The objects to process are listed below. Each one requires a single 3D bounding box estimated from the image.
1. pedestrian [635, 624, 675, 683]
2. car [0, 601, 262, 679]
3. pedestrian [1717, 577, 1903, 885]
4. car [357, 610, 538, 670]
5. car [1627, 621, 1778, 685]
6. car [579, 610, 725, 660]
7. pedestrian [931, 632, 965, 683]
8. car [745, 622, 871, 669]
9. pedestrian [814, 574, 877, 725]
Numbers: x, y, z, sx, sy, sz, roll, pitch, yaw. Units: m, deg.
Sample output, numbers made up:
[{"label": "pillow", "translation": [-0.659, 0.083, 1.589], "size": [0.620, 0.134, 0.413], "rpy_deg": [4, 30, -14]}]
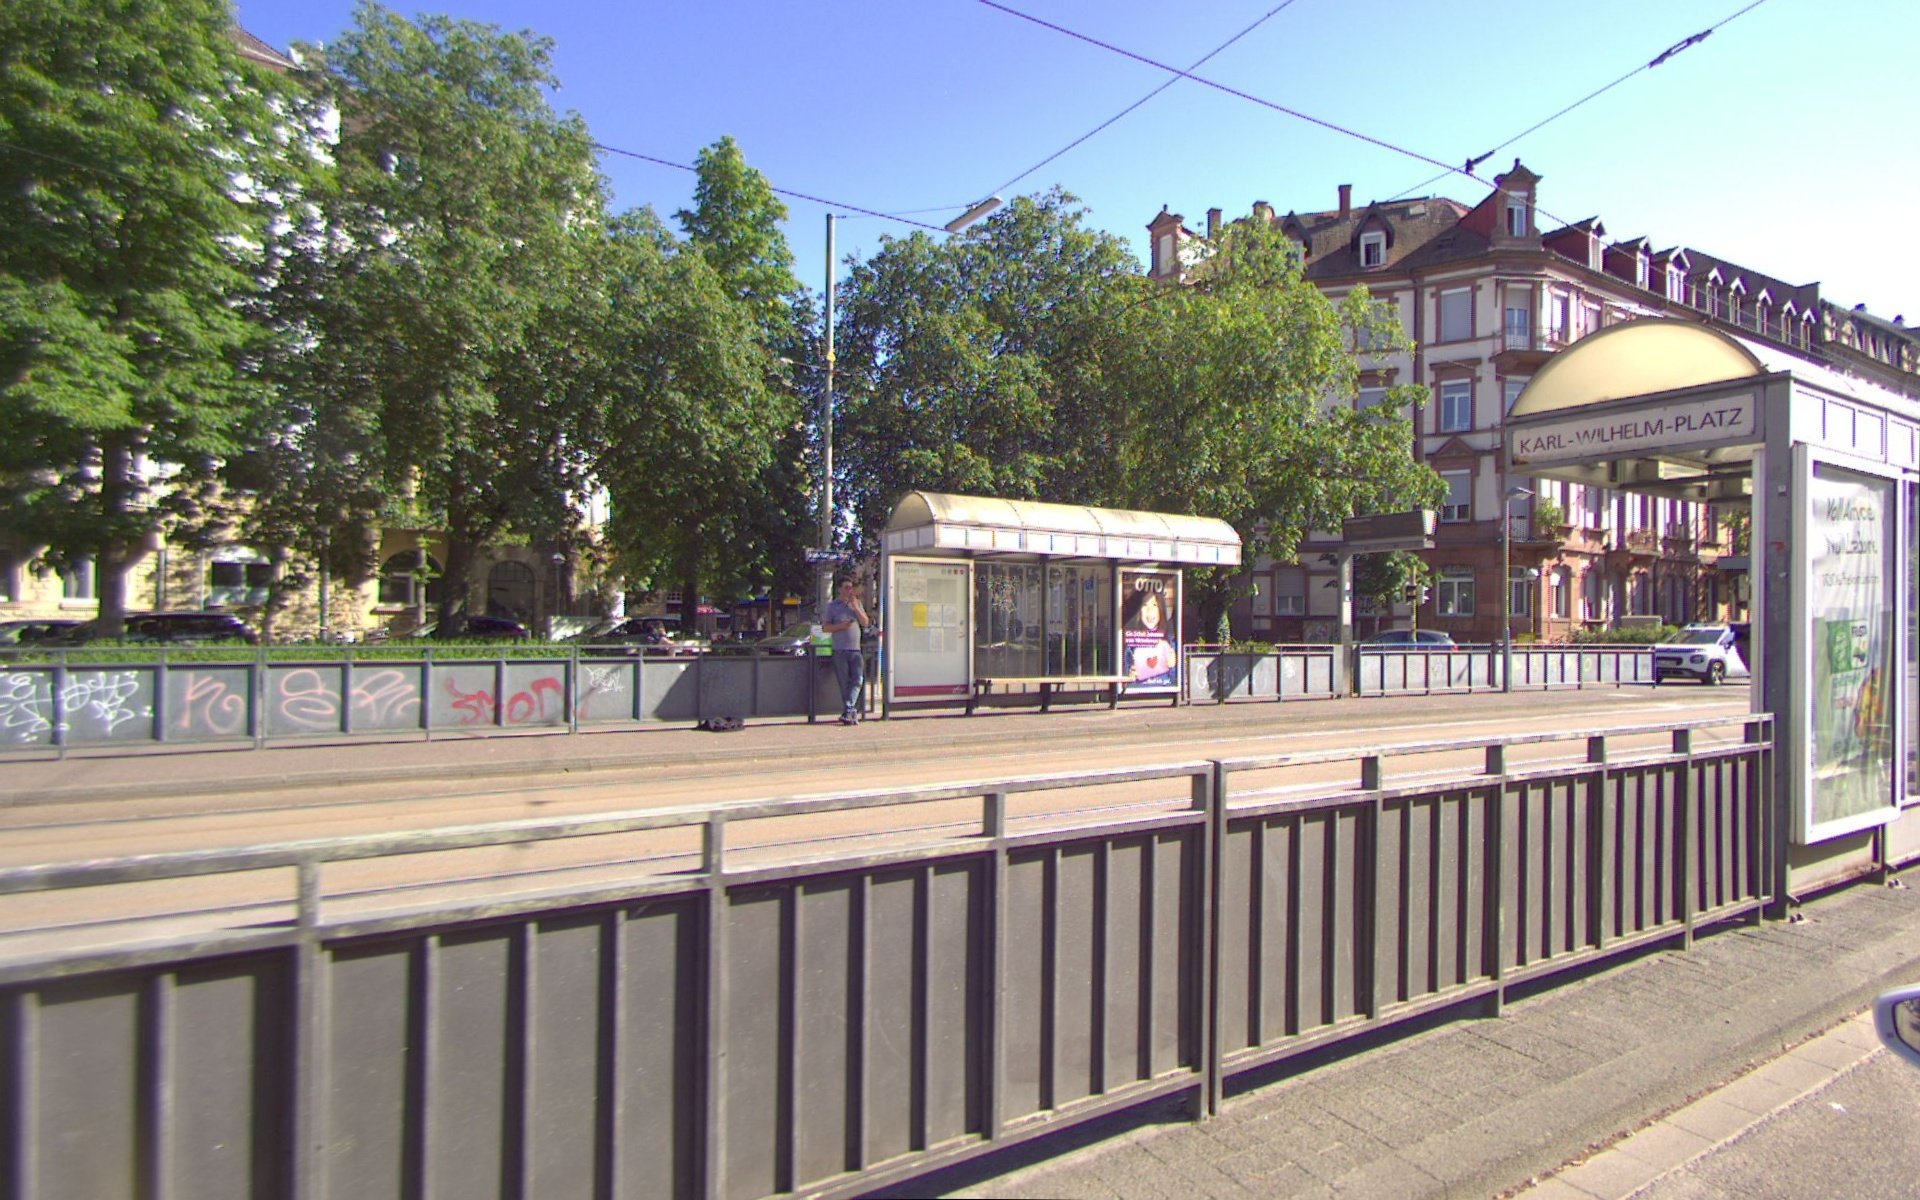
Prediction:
[{"label": "pedestrian", "translation": [-6.435, 1.126, 21.198], "size": [0.599, 1.217, 0.576], "rpy_deg": [-1, -2, 42]}, {"label": "car", "translation": [-17.160, 0.782, 20.942], "size": [1.720, 1.450, 3.999], "rpy_deg": [-1, -1, 22]}, {"label": "pedestrian", "translation": [6.072, 0.877, 7.191], "size": [0.732, 2.040, 0.791], "rpy_deg": [2, 0, -31]}, {"label": "car", "translation": [-13.527, 1.005, 26.637], "size": [3.972, 1.450, 1.731], "rpy_deg": [0, -1, -44]}, {"label": "car", "translation": [20.740, 1.474, 28.043], "size": [3.948, 1.639, 1.770], "rpy_deg": [2, -1, -26]}, {"label": "car", "translation": [-9.446, 1.043, 30.928], "size": [3.967, 1.450, 1.733], "rpy_deg": [0, -1, -40]}, {"label": "pedestrian", "translation": [-0.291, 1.391, 24.534], "size": [0.599, 1.217, 0.576], "rpy_deg": [-1, -2, 42]}, {"label": "car", "translation": [-5.138, 1.506, 34.233], "size": [3.971, 1.450, 1.732], "rpy_deg": [0, -1, -43]}, {"label": "pedestrian", "translation": [-1.432, 0.607, 12.564], "size": [0.573, 1.819, 0.602], "rpy_deg": [1, -1, -33]}]
